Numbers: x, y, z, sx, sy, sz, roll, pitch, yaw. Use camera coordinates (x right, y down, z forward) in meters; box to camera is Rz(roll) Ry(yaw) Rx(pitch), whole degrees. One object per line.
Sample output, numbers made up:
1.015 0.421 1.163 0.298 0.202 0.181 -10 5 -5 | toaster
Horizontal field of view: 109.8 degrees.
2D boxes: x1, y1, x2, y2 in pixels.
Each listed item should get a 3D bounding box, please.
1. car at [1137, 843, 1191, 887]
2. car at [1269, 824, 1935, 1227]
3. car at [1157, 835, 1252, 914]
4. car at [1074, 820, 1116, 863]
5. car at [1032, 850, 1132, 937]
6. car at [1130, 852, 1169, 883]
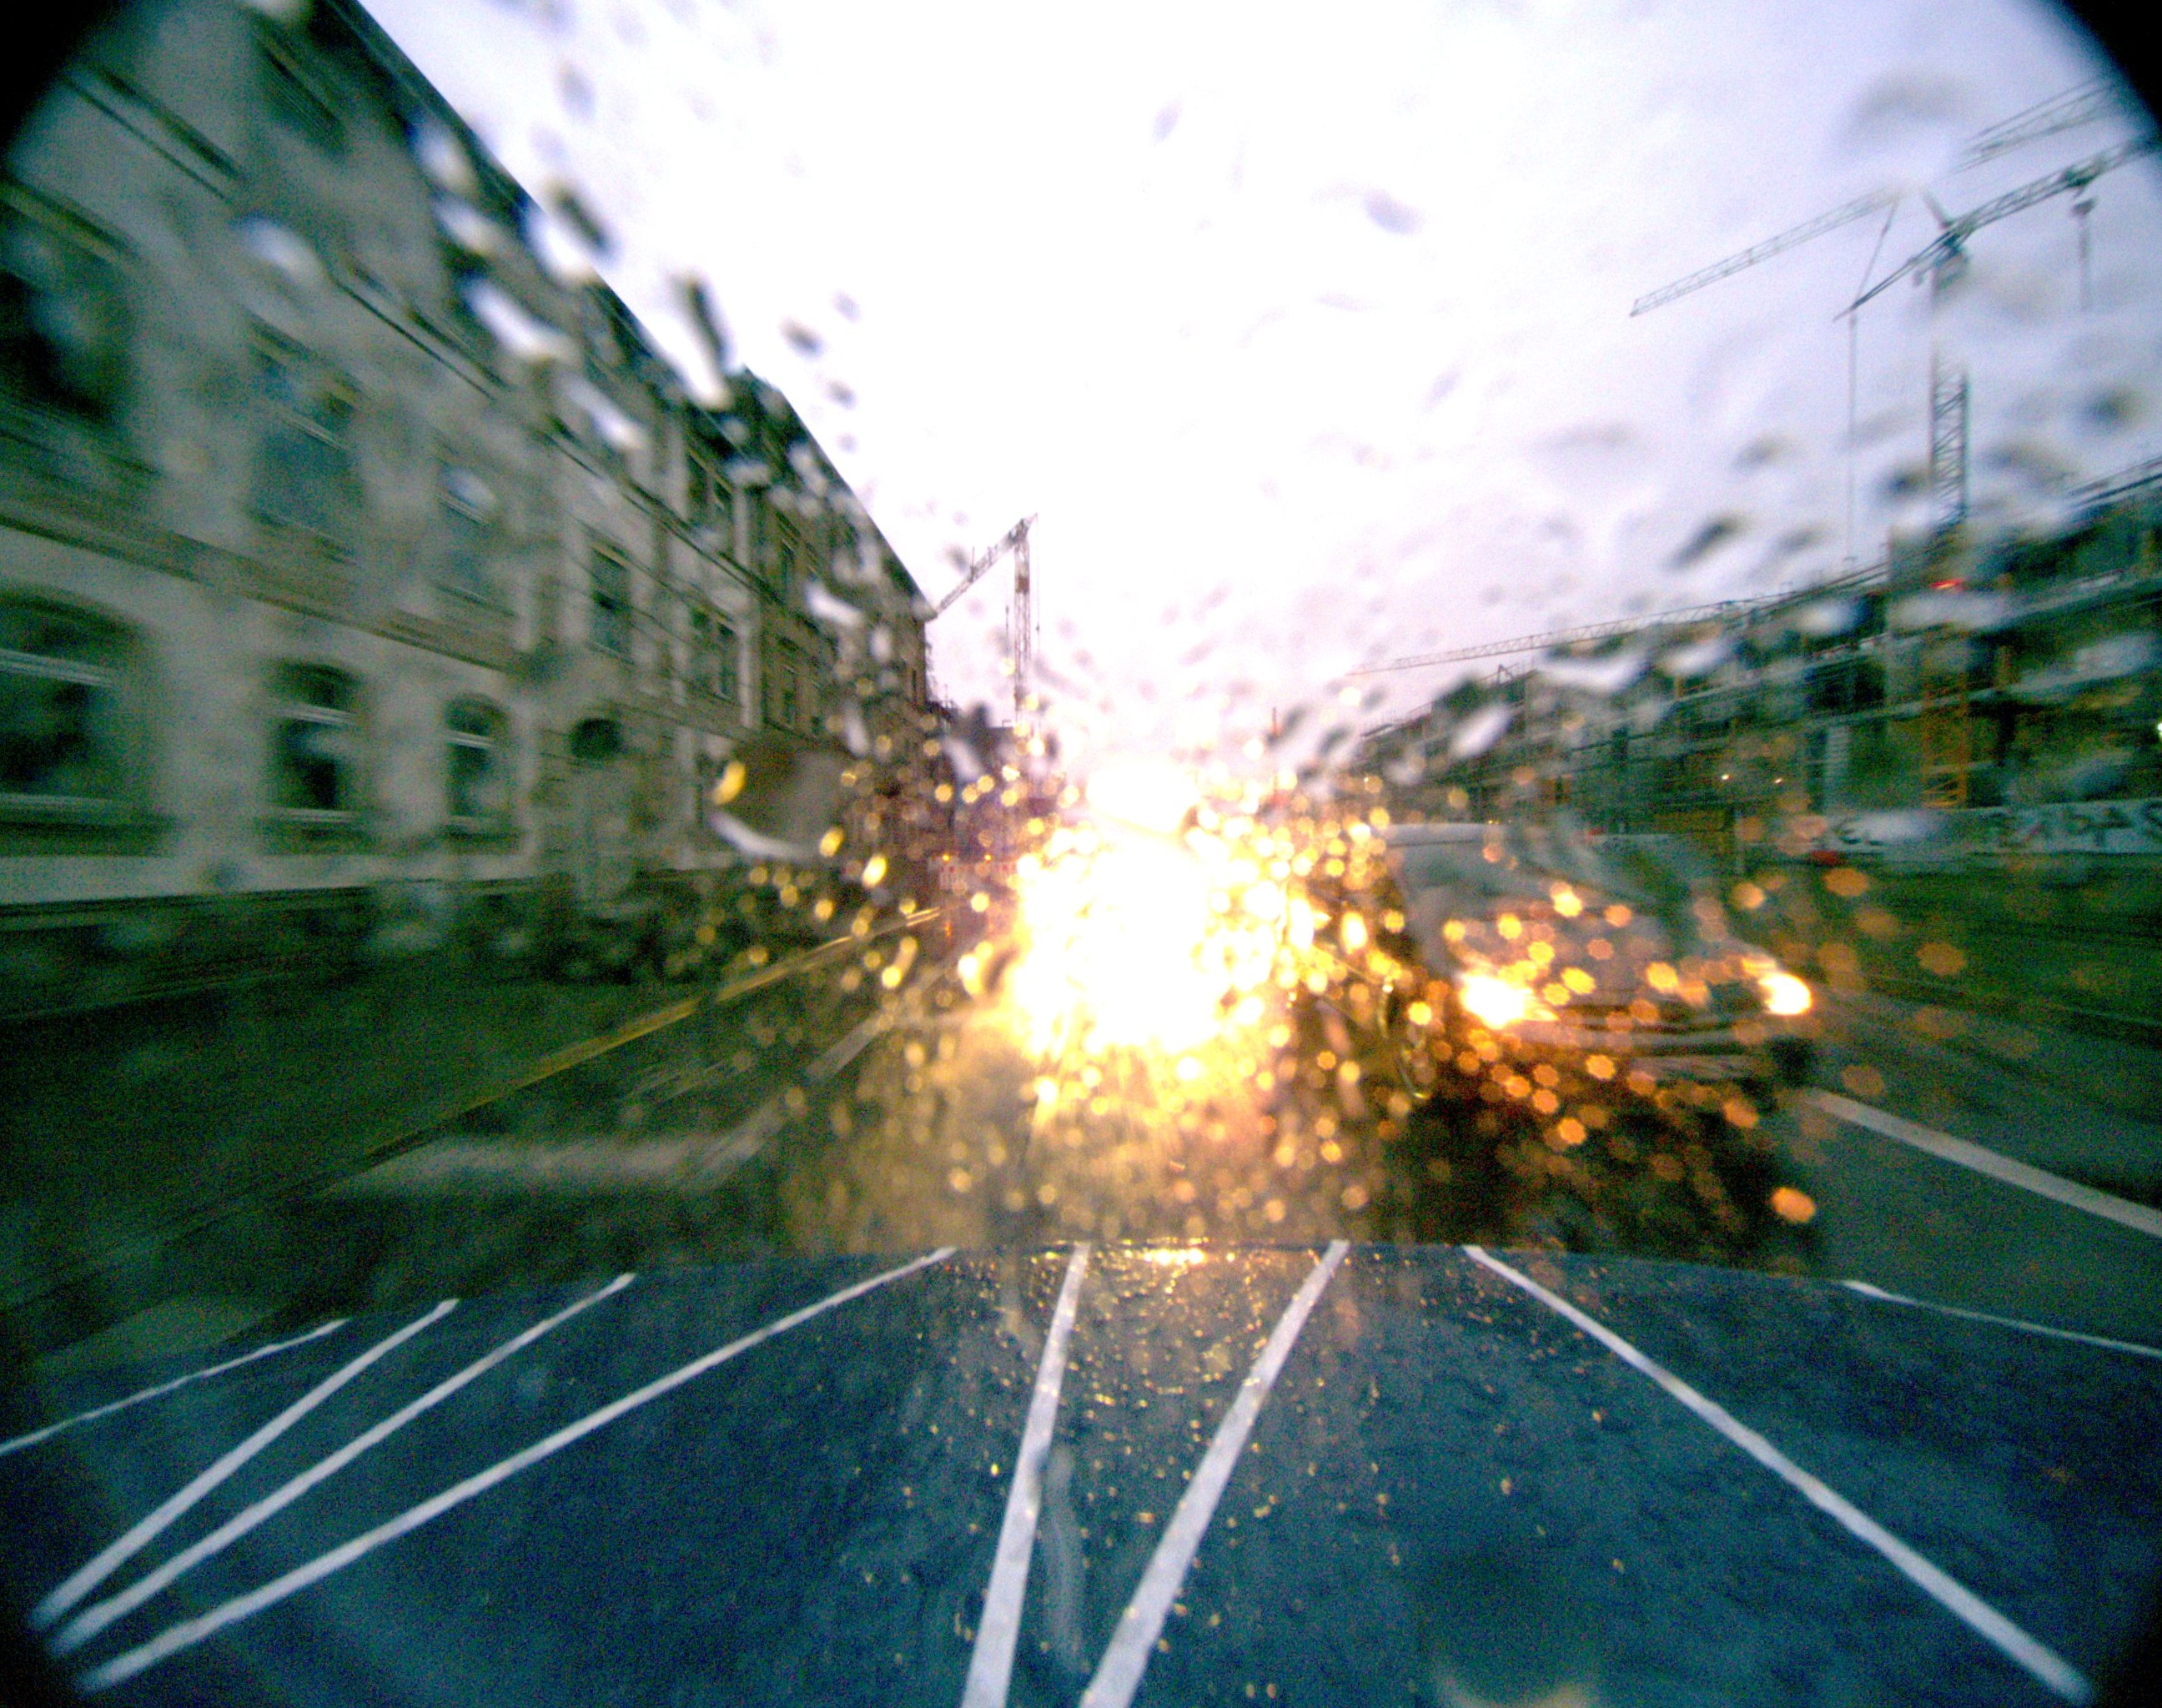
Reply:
3.391 0.411 31.822 1.844 1.644 4.323 -2 1 1 | car
2.611 0.672 5.087 1.764 1.585 3.999 -2 1 1 | car
3.021 0.431 19.303 1.857 1.723 4.000 -2 1 2 | car
0.623 -0.610 37.135 1.858 1.886 3.999 -2 1 -1 | car
0.000 0.707 15.739 1.764 1.443 3.999 -2 1 -1 | car
3.837 0.749 43.131 1.844 1.547 3.999 -2 1 1 | car
